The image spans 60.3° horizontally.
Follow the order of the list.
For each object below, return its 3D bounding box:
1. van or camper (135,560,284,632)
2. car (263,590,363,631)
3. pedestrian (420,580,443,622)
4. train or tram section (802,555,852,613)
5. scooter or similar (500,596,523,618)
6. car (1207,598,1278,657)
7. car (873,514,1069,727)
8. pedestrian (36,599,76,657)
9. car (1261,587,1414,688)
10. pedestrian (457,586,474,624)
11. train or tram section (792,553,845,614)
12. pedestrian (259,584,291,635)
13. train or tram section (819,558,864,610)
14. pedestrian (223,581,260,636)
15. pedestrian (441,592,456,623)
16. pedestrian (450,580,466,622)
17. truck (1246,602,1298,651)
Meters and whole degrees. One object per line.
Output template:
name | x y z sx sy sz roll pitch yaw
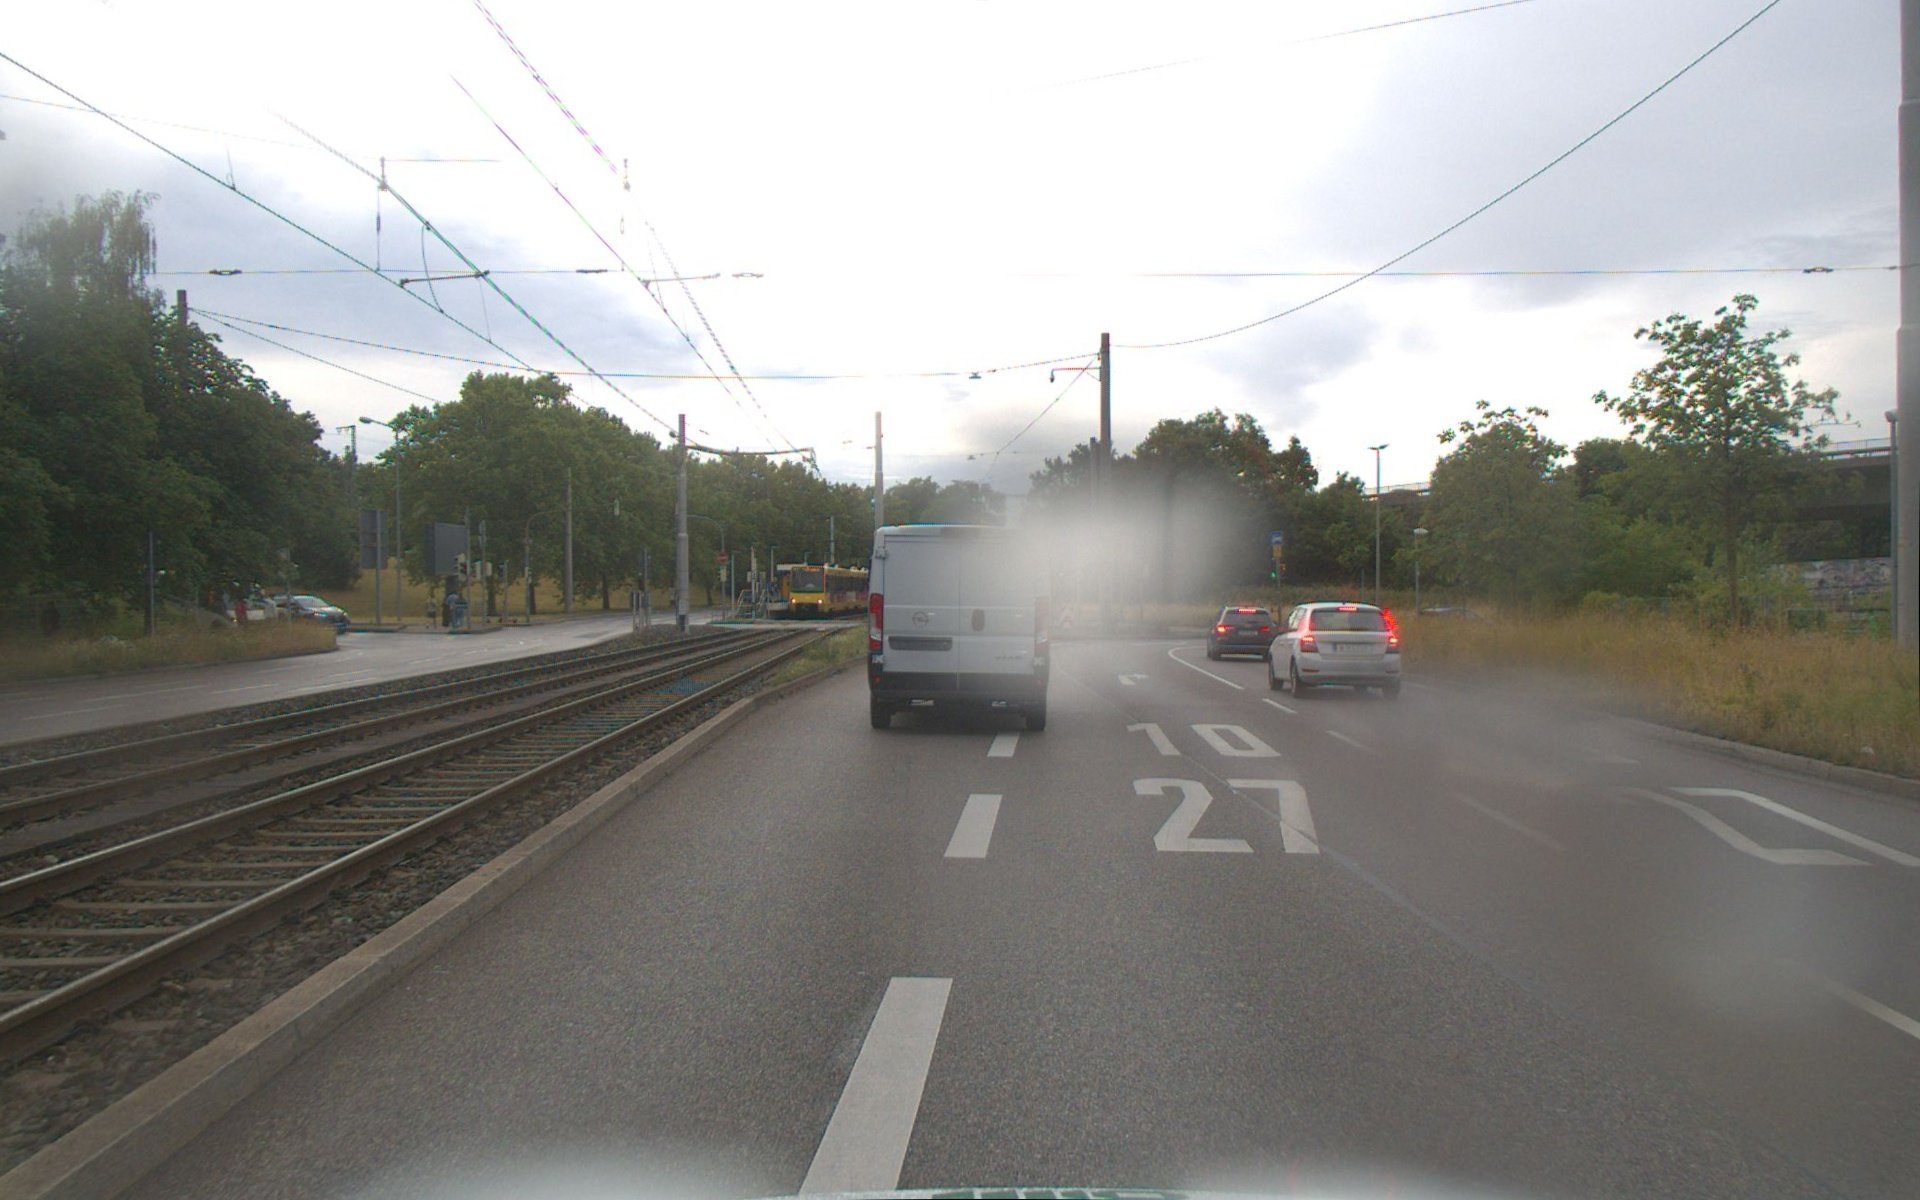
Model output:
van or camper | -33.016 -0.205 72.672 7.220 3.018 2.484 1 1 33
car | -29.710 0.450 75.949 4.533 1.762 1.995 1 1 32
pedestrian | -26.106 0.024 81.702 0.870 2.049 0.864 -1 0 -6
train or tram section | -9.640 -1.178 120.380 2.868 4.001 7.006 2 0 0
scooter or similar | -25.268 0.404 93.189 0.374 1.182 1.271 0 1 43
car | 7.526 0.706 44.306 1.751 1.474 4.003 1 0 8
car | 0.064 0.180 20.158 2.048 2.234 5.060 1 1 -1
pedestrian | -28.191 0.871 51.609 0.710 1.786 0.877 2 0 1
car | 6.014 0.547 26.743 1.710 1.483 3.672 1 1 2
pedestrian | -23.946 0.245 80.065 0.495 1.818 0.832 2 0 3
train or tram section | -9.708 -1.139 113.975 2.868 4.001 7.006 2 0 0
pedestrian | -26.200 0.364 63.250 0.621 1.900 0.953 -1 0 25
train or tram section | -9.487 -1.254 133.072 2.868 4.001 7.006 2 0 0
pedestrian | -27.281 0.323 62.819 0.869 2.049 0.945 0 0 26
pedestrian | -25.320 0.382 81.870 0.485 1.499 0.722 2 0 0
pedestrian | -24.322 0.055 80.172 0.485 1.989 0.722 2 0 3
truck | 12.778 1.063 67.911 1.951 1.822 4.418 -1 1 9
